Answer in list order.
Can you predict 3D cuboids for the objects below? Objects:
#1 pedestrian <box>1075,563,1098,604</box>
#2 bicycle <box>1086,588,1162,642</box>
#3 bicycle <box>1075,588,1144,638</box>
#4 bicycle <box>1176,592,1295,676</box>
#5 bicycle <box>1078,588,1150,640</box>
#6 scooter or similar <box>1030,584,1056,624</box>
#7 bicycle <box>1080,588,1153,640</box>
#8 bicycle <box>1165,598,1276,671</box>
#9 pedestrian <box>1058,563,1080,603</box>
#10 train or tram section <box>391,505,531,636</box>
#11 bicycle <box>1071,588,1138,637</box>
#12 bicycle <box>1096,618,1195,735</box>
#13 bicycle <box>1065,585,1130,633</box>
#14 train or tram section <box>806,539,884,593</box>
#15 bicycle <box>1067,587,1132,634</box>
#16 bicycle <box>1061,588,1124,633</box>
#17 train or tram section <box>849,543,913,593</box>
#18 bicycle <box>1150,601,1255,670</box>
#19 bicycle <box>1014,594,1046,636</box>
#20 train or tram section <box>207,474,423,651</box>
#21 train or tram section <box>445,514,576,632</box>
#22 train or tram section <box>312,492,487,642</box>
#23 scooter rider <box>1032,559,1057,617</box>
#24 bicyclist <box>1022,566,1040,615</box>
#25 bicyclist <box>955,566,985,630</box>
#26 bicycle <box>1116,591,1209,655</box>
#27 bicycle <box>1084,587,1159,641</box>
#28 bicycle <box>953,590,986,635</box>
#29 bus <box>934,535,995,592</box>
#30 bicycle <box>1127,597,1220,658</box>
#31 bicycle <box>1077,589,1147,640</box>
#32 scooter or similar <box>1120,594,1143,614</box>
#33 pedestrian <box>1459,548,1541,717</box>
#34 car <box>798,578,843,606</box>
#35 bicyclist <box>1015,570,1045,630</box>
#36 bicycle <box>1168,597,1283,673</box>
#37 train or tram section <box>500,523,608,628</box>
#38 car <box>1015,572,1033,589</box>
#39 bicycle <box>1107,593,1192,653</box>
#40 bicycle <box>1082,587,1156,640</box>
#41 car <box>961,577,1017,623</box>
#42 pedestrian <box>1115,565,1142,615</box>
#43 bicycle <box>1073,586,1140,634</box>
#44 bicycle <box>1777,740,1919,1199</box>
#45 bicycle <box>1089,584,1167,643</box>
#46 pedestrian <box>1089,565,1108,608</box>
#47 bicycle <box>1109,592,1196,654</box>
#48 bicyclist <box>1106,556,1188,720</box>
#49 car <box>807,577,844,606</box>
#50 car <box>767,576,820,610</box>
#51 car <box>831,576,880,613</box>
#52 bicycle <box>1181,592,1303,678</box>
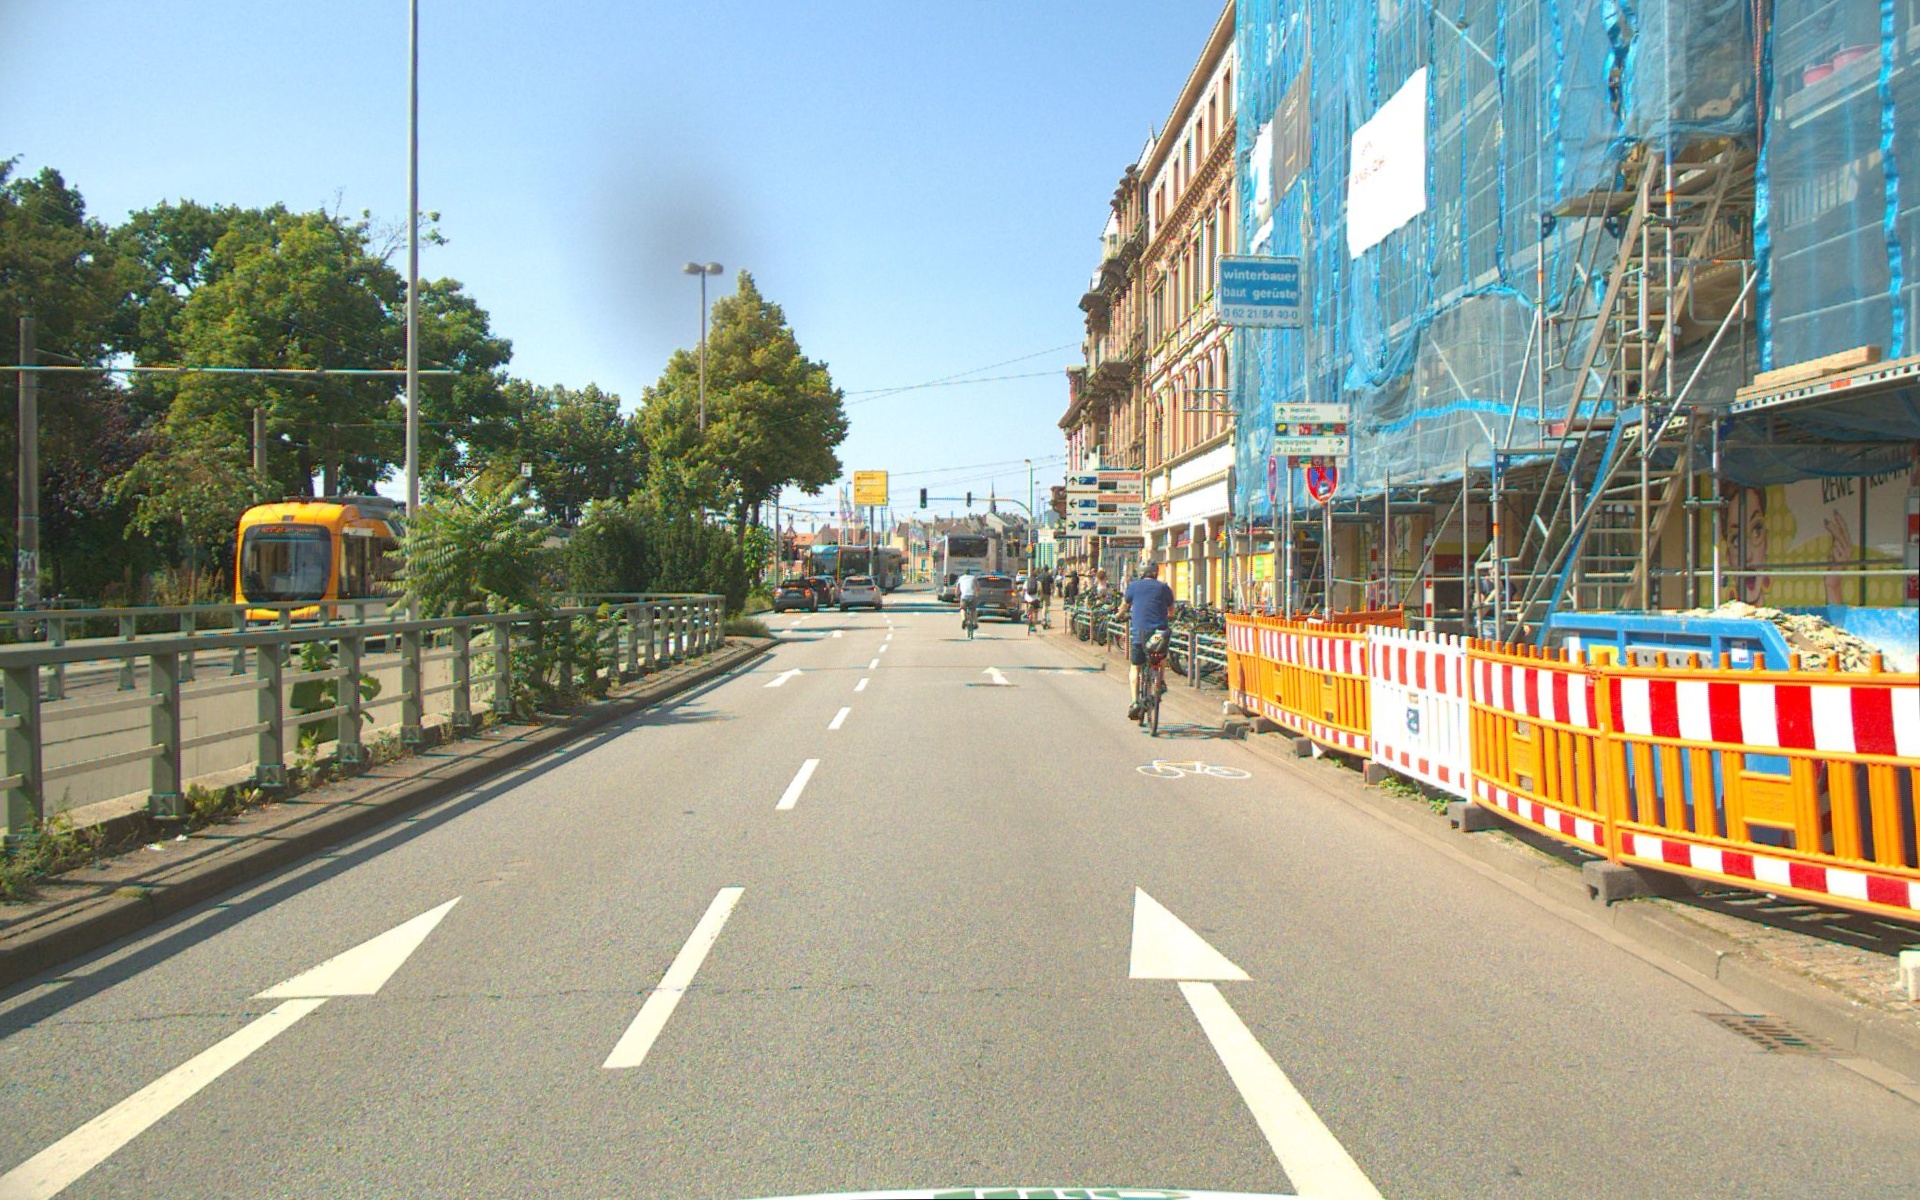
[{"bbox_3d":[5.187,-0.688,67.866,0.845,1.669,0.875,0,0,-3],"label":"pedestrian"},{"bbox_3d":[3.742,0.336,37.775,1.659,1.199,0.497,1,0,-1],"label":"bicycle"},{"bbox_3d":[3.704,0.329,41.061,1.659,1.199,0.459,1,0,-1],"label":"bicycle"},{"bbox_3d":[4.142,0.504,24.910,1.659,1.199,0.608,1,0,-1],"label":"bicycle"},{"bbox_3d":[3.714,0.339,39.928,1.659,1.199,0.457,1,0,-1],"label":"bicycle"},{"bbox_3d":[2.565,0.129,51.092,0.674,1.188,1.464,2,0,0],"label":"scooter or similar"},{"bbox_3d":[3.720,0.333,39.423,1.659,1.199,0.463,1,0,-1],"label":"bicycle"},{"bbox_3d":[4.157,0.545,26.431,1.659,1.116,0.608,1,0,-1],"label":"bicycle"},{"bbox_3d":[4.580,-0.716,69.542,0.845,1.669,0.875,0,0,-3],"label":"pedestrian"},{"bbox_3d":[-14.919,-0.847,49.829,2.560,3.643,5.355,2,0,-1],"label":"train or tram section"},{"bbox_3d":[3.677,0.307,42.163,1.659,1.199,0.469,1,0,-1],"label":"bicycle"},{"bbox_3d":[1.923,0.772,17.391,0.719,1.112,1.910,2,0,-2],"label":"bicycle"},{"bbox_3d":[3.650,0.235,43.951,1.659,1.199,0.608,-2,1,-1],"label":"bicycle"},{"bbox_3d":[-8.382,-2.426,122.170,2.762,3.643,10.040,2,0,13],"label":"train or tram section"},{"bbox_3d":[3.649,0.273,43.297,1.659,1.199,0.608,-1,1,-1],"label":"bicycle"},{"bbox_3d":[3.572,0.272,44.588,1.659,1.199,0.608,0,1,-1],"label":"bicycle"},{"bbox_3d":[-6.208,-2.462,131.029,2.762,3.643,8.232,2,0,13],"label":"train or tram section"},{"bbox_3d":[4.167,0.606,28.500,1.703,1.128,0.608,1,0,-1],"label":"bicycle"},{"bbox_3d":[1.914,0.413,45.605,0.719,1.112,1.897,2,0,-1],"label":"bicycle"},{"bbox_3d":[-14.640,-0.804,38.045,2.561,3.643,6.102,2,0,-1],"label":"train or tram section"},{"bbox_3d":[-15.051,-0.868,55.921,2.560,3.643,6.896,2,0,-1],"label":"train or tram section"},{"bbox_3d":[-14.787,-0.826,44.112,2.560,3.643,6.102,2,0,-1],"label":"train or tram section"},{"bbox_3d":[2.598,-0.368,51.130,0.674,1.759,0.778,2,0,0],"label":"scooter rider"},{"bbox_3d":[2.953,-0.401,68.954,0.674,1.996,0.778,2,0,0],"label":"bicyclist"},{"bbox_3d":[0.254,-0.061,42.602,0.674,1.604,1.049,2,0,-3],"label":"bicyclist"},{"bbox_3d":[3.985,0.451,32.662,1.735,1.199,0.608,1,0,-1],"label":"bicycle"},{"bbox_3d":[3.736,0.323,38.336,1.659,1.199,0.490,1,0,-1],"label":"bicycle"},{"bbox_3d":[0.242,0.318,42.587,0.719,1.112,1.897,2,0,-2],"label":"bicycle"},{"bbox_3d":[0.165,-1.927,90.138,2.909,2.825,8.638,2,0,-2],"label":"bus"},{"bbox_3d":[4.031,0.509,31.288,1.659,1.106,0.608,1,0,-1],"label":"bicycle"},{"bbox_3d":[3.715,0.343,40.485,1.659,1.199,0.514,1,0,-1],"label":"bicycle"},{"bbox_3d":[5.909,0.136,56.917,0.677,0.661,0.565,-3,0,-2],"label":"scooter or similar"},{"bbox_3d":[5.941,0.352,18.224,0.626,1.807,0.649,2,0,-1],"label":"pedestrian"},{"bbox_3d":[-7.340,-0.406,87.354,1.995,1.355,4.000,2,0,0],"label":"car"},{"bbox_3d":[1.925,-0.006,45.639,0.674,1.604,1.049,2,0,-3],"label":"bicyclist"},{"bbox_3d":[4.115,0.539,25.693,1.659,1.116,0.608,1,0,-1],"label":"bicycle"},{"bbox_3d":[-15.201,-0.891,62.288,2.560,3.643,6.016,2,0,-1],"label":"train or tram section"},{"bbox_3d":[7.432,-2.233,192.743,1.952,1.910,4.001,-1,0,1],"label":"car"},{"bbox_3d":[3.921,0.470,34.240,1.659,1.199,0.608,1,0,-1],"label":"bicycle"},{"bbox_3d":[3.731,0.316,38.893,1.659,1.199,0.451,1,0,-1],"label":"bicycle"},{"bbox_3d":[0.963,-0.008,56.494,1.835,1.519,4.000,0,0,0],"label":"car"},{"bbox_3d":[5.860,-0.355,57.512,0.740,1.684,0.837,-3,0,-2],"label":"pedestrian"},{"bbox_3d":[3.776,0.260,42.703,1.659,1.199,0.469,1,0,-1],"label":"bicycle"},{"bbox_3d":[2.412,0.916,2.988,0.719,1.112,2.130,2,0,-2],"label":"bicycle"},{"bbox_3d":[3.768,0.296,37.114,1.659,1.262,0.608,1,0,-1],"label":"bicycle"},{"bbox_3d":[5.349,-0.518,63.954,0.641,1.649,0.815,-1,1,-3],"label":"pedestrian"},{"bbox_3d":[3.901,0.458,33.560,1.659,1.199,0.608,1,0,-1],"label":"bicycle"},{"bbox_3d":[1.939,0.385,17.254,0.674,1.644,0.918,2,0,-2],"label":"bicyclist"},{"bbox_3d":[-6.506,-0.393,80.188,1.422,1.323,4.000,2,0,0],"label":"car"},{"bbox_3d":[-7.095,-0.310,70.786,1.778,1.355,4.000,2,0,0],"label":"car"},{"bbox_3d":[-4.523,-0.238,71.960,1.821,1.533,4.000,2,0,0],"label":"car"},{"bbox_3d":[4.108,0.504,24.139,1.659,1.199,0.608,1,0,-1],"label":"bicycle"}]
